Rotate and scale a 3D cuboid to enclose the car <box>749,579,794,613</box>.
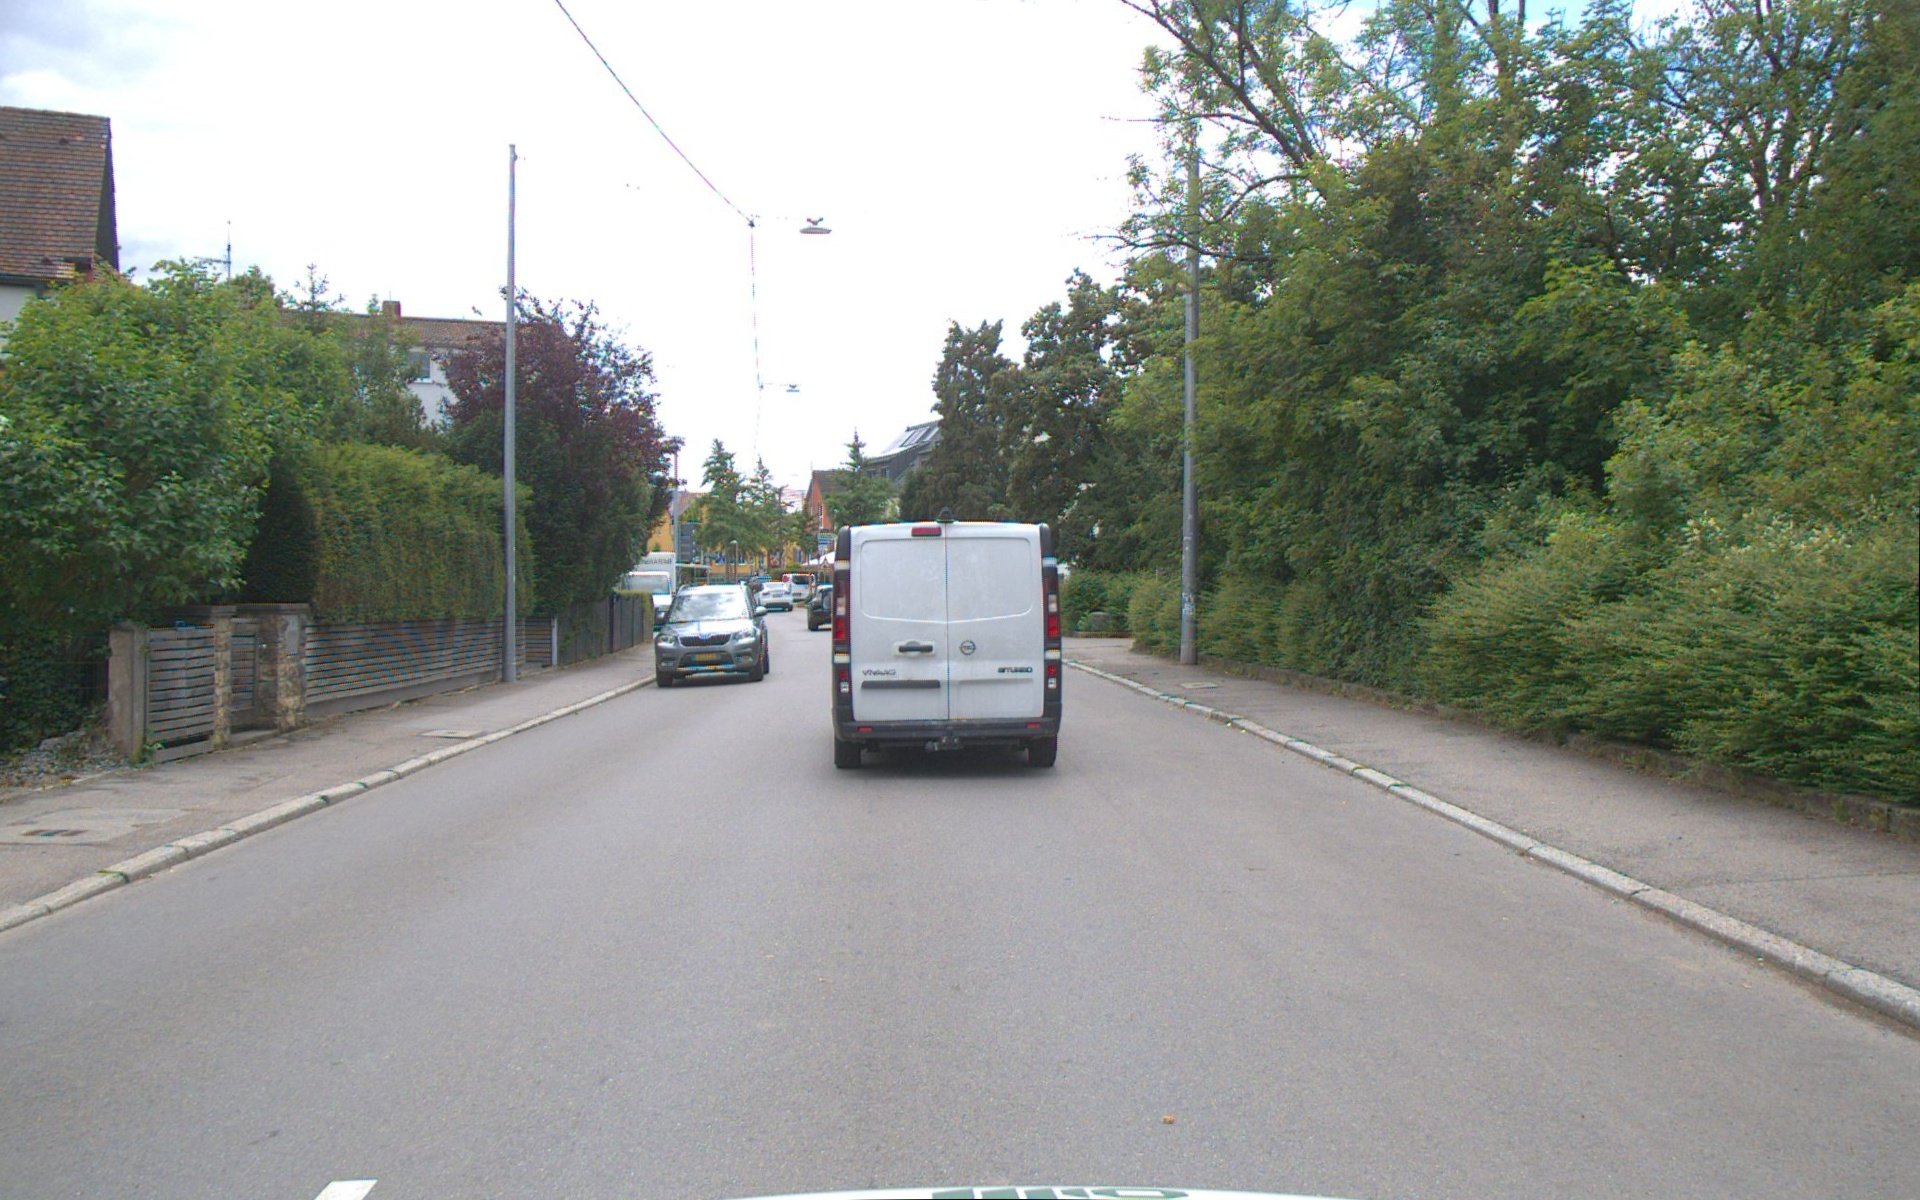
[{"bbox_3d":[-10.755,-0.236,94.149,1.961,1.813,3.984,-1,1,-15],"label":"car"}]

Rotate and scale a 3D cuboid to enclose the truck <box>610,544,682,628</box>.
[{"bbox_3d":[-11.539,-0.496,60.506,2.429,2.890,6.688,0,0,-12],"label":"truck"}]

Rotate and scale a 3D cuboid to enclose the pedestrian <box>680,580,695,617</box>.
[{"bbox_3d":[-14.774,-0.072,89.661,0.719,1.980,1.216,2,0,-7],"label":"pedestrian"}]

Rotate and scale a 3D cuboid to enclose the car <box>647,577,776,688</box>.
[{"bbox_3d":[-4.220,0.513,28.642,1.804,1.684,4.135,-3,0,-4],"label":"car"}]

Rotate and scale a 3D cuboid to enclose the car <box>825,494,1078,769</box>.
[{"bbox_3d":[-0.194,0.227,14.642,1.878,2.037,4.434,-1,0,-4],"label":"car"}]

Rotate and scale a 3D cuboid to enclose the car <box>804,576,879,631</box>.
[{"bbox_3d":[-4.280,0.092,59.262,1.961,1.880,3.984,-1,1,-15],"label":"car"}]

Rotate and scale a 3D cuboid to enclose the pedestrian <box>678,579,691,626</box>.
[{"bbox_3d":[-10.192,0.089,61.147,0.394,1.724,0.595,2,0,-12],"label":"pedestrian"}]

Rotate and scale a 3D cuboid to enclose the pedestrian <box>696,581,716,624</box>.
[{"bbox_3d":[-10.414,0.090,67.784,0.709,1.716,1.107,2,0,-7],"label":"pedestrian"}]

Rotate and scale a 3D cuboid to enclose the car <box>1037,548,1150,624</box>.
[{"bbox_3d":[5.055,-0.544,63.620,2.459,2.728,5.159,2,0,-18],"label":"car"}]
